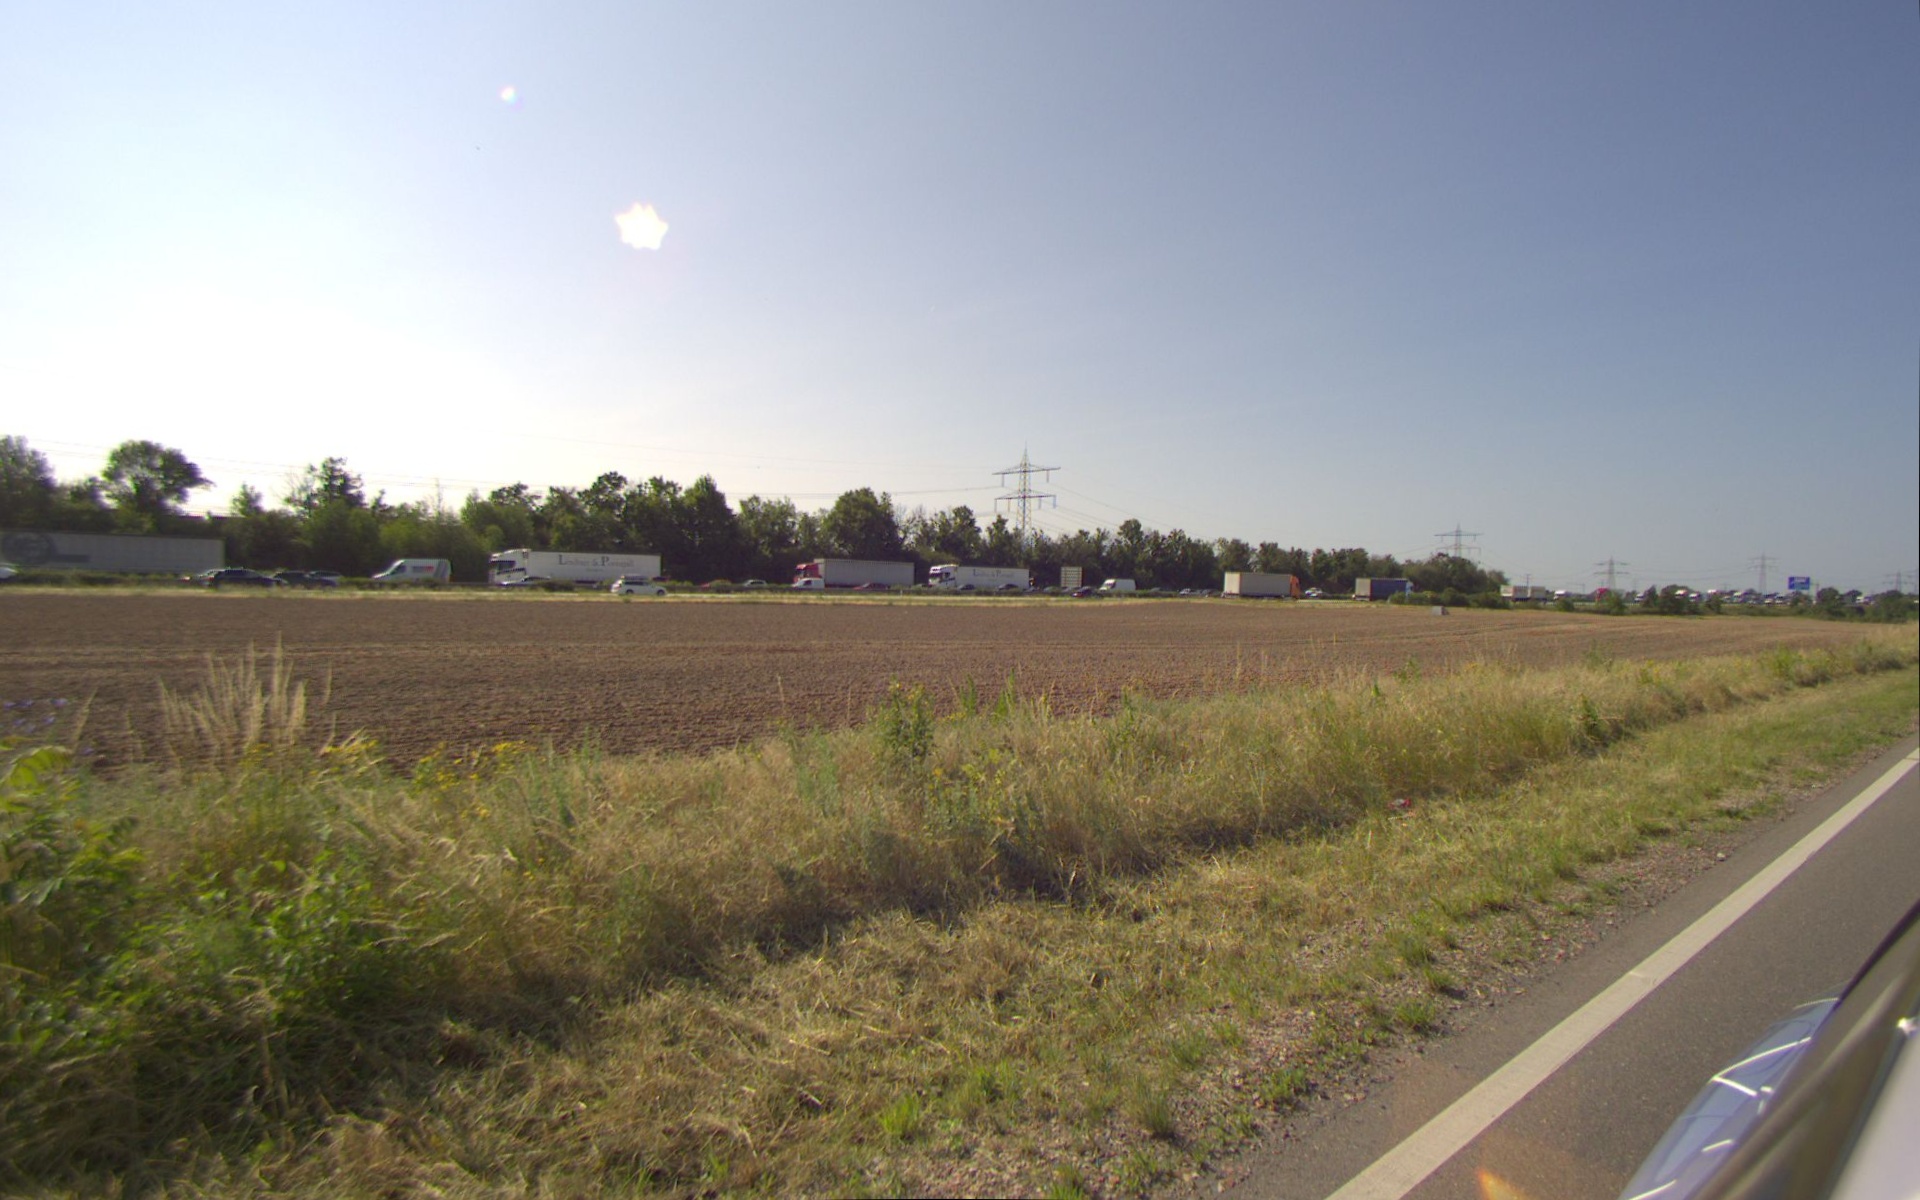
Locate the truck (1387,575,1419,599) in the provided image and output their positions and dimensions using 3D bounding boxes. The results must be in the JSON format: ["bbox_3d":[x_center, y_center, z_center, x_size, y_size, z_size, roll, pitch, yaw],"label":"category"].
[{"bbox_3d":[76.606,-2.229,174.987,5.515,3.850,3.076,1,0,-42],"label":"truck"}]

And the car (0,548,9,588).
[{"bbox_3d":[-61.587,-2.000,61.495,5.425,2.402,1.997,0,-1,-41],"label":"car"}]

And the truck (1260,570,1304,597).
[{"bbox_3d":[48.301,-2.506,151.580,6.828,3.898,3.109,1,0,-40],"label":"truck"}]

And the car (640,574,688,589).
[{"bbox_3d":[-29.532,-1.859,101.067,4.173,1.403,1.853,1,-1,-41],"label":"car"}]

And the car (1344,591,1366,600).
[{"bbox_3d":[68.302,-0.813,174.981,3.825,1.595,1.997,0,-1,-40],"label":"car"}]

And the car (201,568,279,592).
[{"bbox_3d":[-48.003,-1.295,67.511,4.135,1.492,1.706,0,-1,-40],"label":"car"}]

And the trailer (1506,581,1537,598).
[{"bbox_3d":[114.954,-2.111,207.225,8.566,3.458,2.798,0,1,-41],"label":"trailer"}]

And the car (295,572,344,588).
[{"bbox_3d":[-51.063,-1.607,80.751,3.126,1.166,1.397,1,-1,-41],"label":"car"}]

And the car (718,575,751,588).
[{"bbox_3d":[-23.485,-1.887,105.450,3.236,1.300,1.342,0,-1,-43],"label":"car"}]

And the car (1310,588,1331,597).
[{"bbox_3d":[64.246,-1.364,180.351,4.022,1.528,1.706,0,-1,-41],"label":"car"}]

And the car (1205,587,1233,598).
[{"bbox_3d":[38.608,-1.093,150.760,4.392,1.633,1.910,0,-1,-39],"label":"car"}]

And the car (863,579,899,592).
[{"bbox_3d":[-9.148,-1.681,117.769,4.022,1.528,1.706,0,-1,-41],"label":"car"}]

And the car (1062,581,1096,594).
[{"bbox_3d":[14.393,-1.521,122.004,4.123,1.563,1.706,0,-1,-41],"label":"car"}]

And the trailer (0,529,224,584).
[{"bbox_3d":[-64.707,-3.187,77.457,13.385,3.780,3.078,0,0,-40],"label":"trailer"}]

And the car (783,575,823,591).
[{"bbox_3d":[-17.148,-1.844,110.808,4.023,1.660,1.705,0,-1,-42],"label":"car"}]

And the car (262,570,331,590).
[{"bbox_3d":[-48.104,-1.429,73.441,4.021,1.391,1.706,0,-1,-40],"label":"car"}]

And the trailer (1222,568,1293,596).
[{"bbox_3d":[43.499,-2.539,147.468,13.476,3.898,3.109,0,0,-40],"label":"trailer"}]

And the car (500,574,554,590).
[{"bbox_3d":[-39.496,-1.637,92.406,4.173,1.403,1.853,1,-1,-41],"label":"car"}]

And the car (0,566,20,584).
[{"bbox_3d":[-65.472,-1.690,67.795,3.518,1.166,1.397,1,-1,-40],"label":"car"}]

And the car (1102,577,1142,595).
[{"bbox_3d":[23.689,-2.032,147.863,6.299,2.478,2.041,0,0,-40],"label":"car"}]

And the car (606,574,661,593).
[{"bbox_3d":[-27.665,-1.372,85.787,4.123,1.563,1.706,0,-1,-41],"label":"car"}]

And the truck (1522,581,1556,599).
[{"bbox_3d":[122.250,-2.100,213.711,10.927,3.521,2.810,0,1,-42],"label":"truck"}]

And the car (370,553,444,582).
[{"bbox_3d":[-46.507,-2.676,85.177,5.146,2.228,1.908,1,-1,-41],"label":"car"}]

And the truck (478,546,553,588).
[{"bbox_3d":[-42.593,-3.126,97.020,6.008,3.780,3.078,1,0,-40],"label":"truck"}]

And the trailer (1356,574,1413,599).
[{"bbox_3d":[71.646,-2.258,170.470,14.341,3.850,3.076,1,0,-42],"label":"trailer"}]

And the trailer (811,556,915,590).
[{"bbox_3d":[-11.697,-3.189,123.789,13.540,3.780,2.951,0,0,-41],"label":"trailer"}]

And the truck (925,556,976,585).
[{"bbox_3d":[-1.281,-3.814,132.624,6.002,3.575,3.208,1,2,-41],"label":"truck"}]

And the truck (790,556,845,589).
[{"bbox_3d":[-16.817,-3.209,119.410,5.766,3.780,2.951,1,0,-41],"label":"truck"}]

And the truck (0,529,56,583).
[{"bbox_3d":[-69.647,-3.202,73.365,5.978,3.780,3.079,1,0,-39],"label":"truck"}]

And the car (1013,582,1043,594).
[{"bbox_3d":[9.073,-1.601,135.125,4.022,1.528,1.706,0,-1,-41],"label":"car"}]

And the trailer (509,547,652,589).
[{"bbox_3d":[-37.710,-3.106,101.121,13.127,3.780,3.078,0,0,-40],"label":"trailer"}]

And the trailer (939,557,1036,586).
[{"bbox_3d":[3.921,-3.780,137.198,14.820,3.575,3.208,0,2,-41],"label":"trailer"}]
